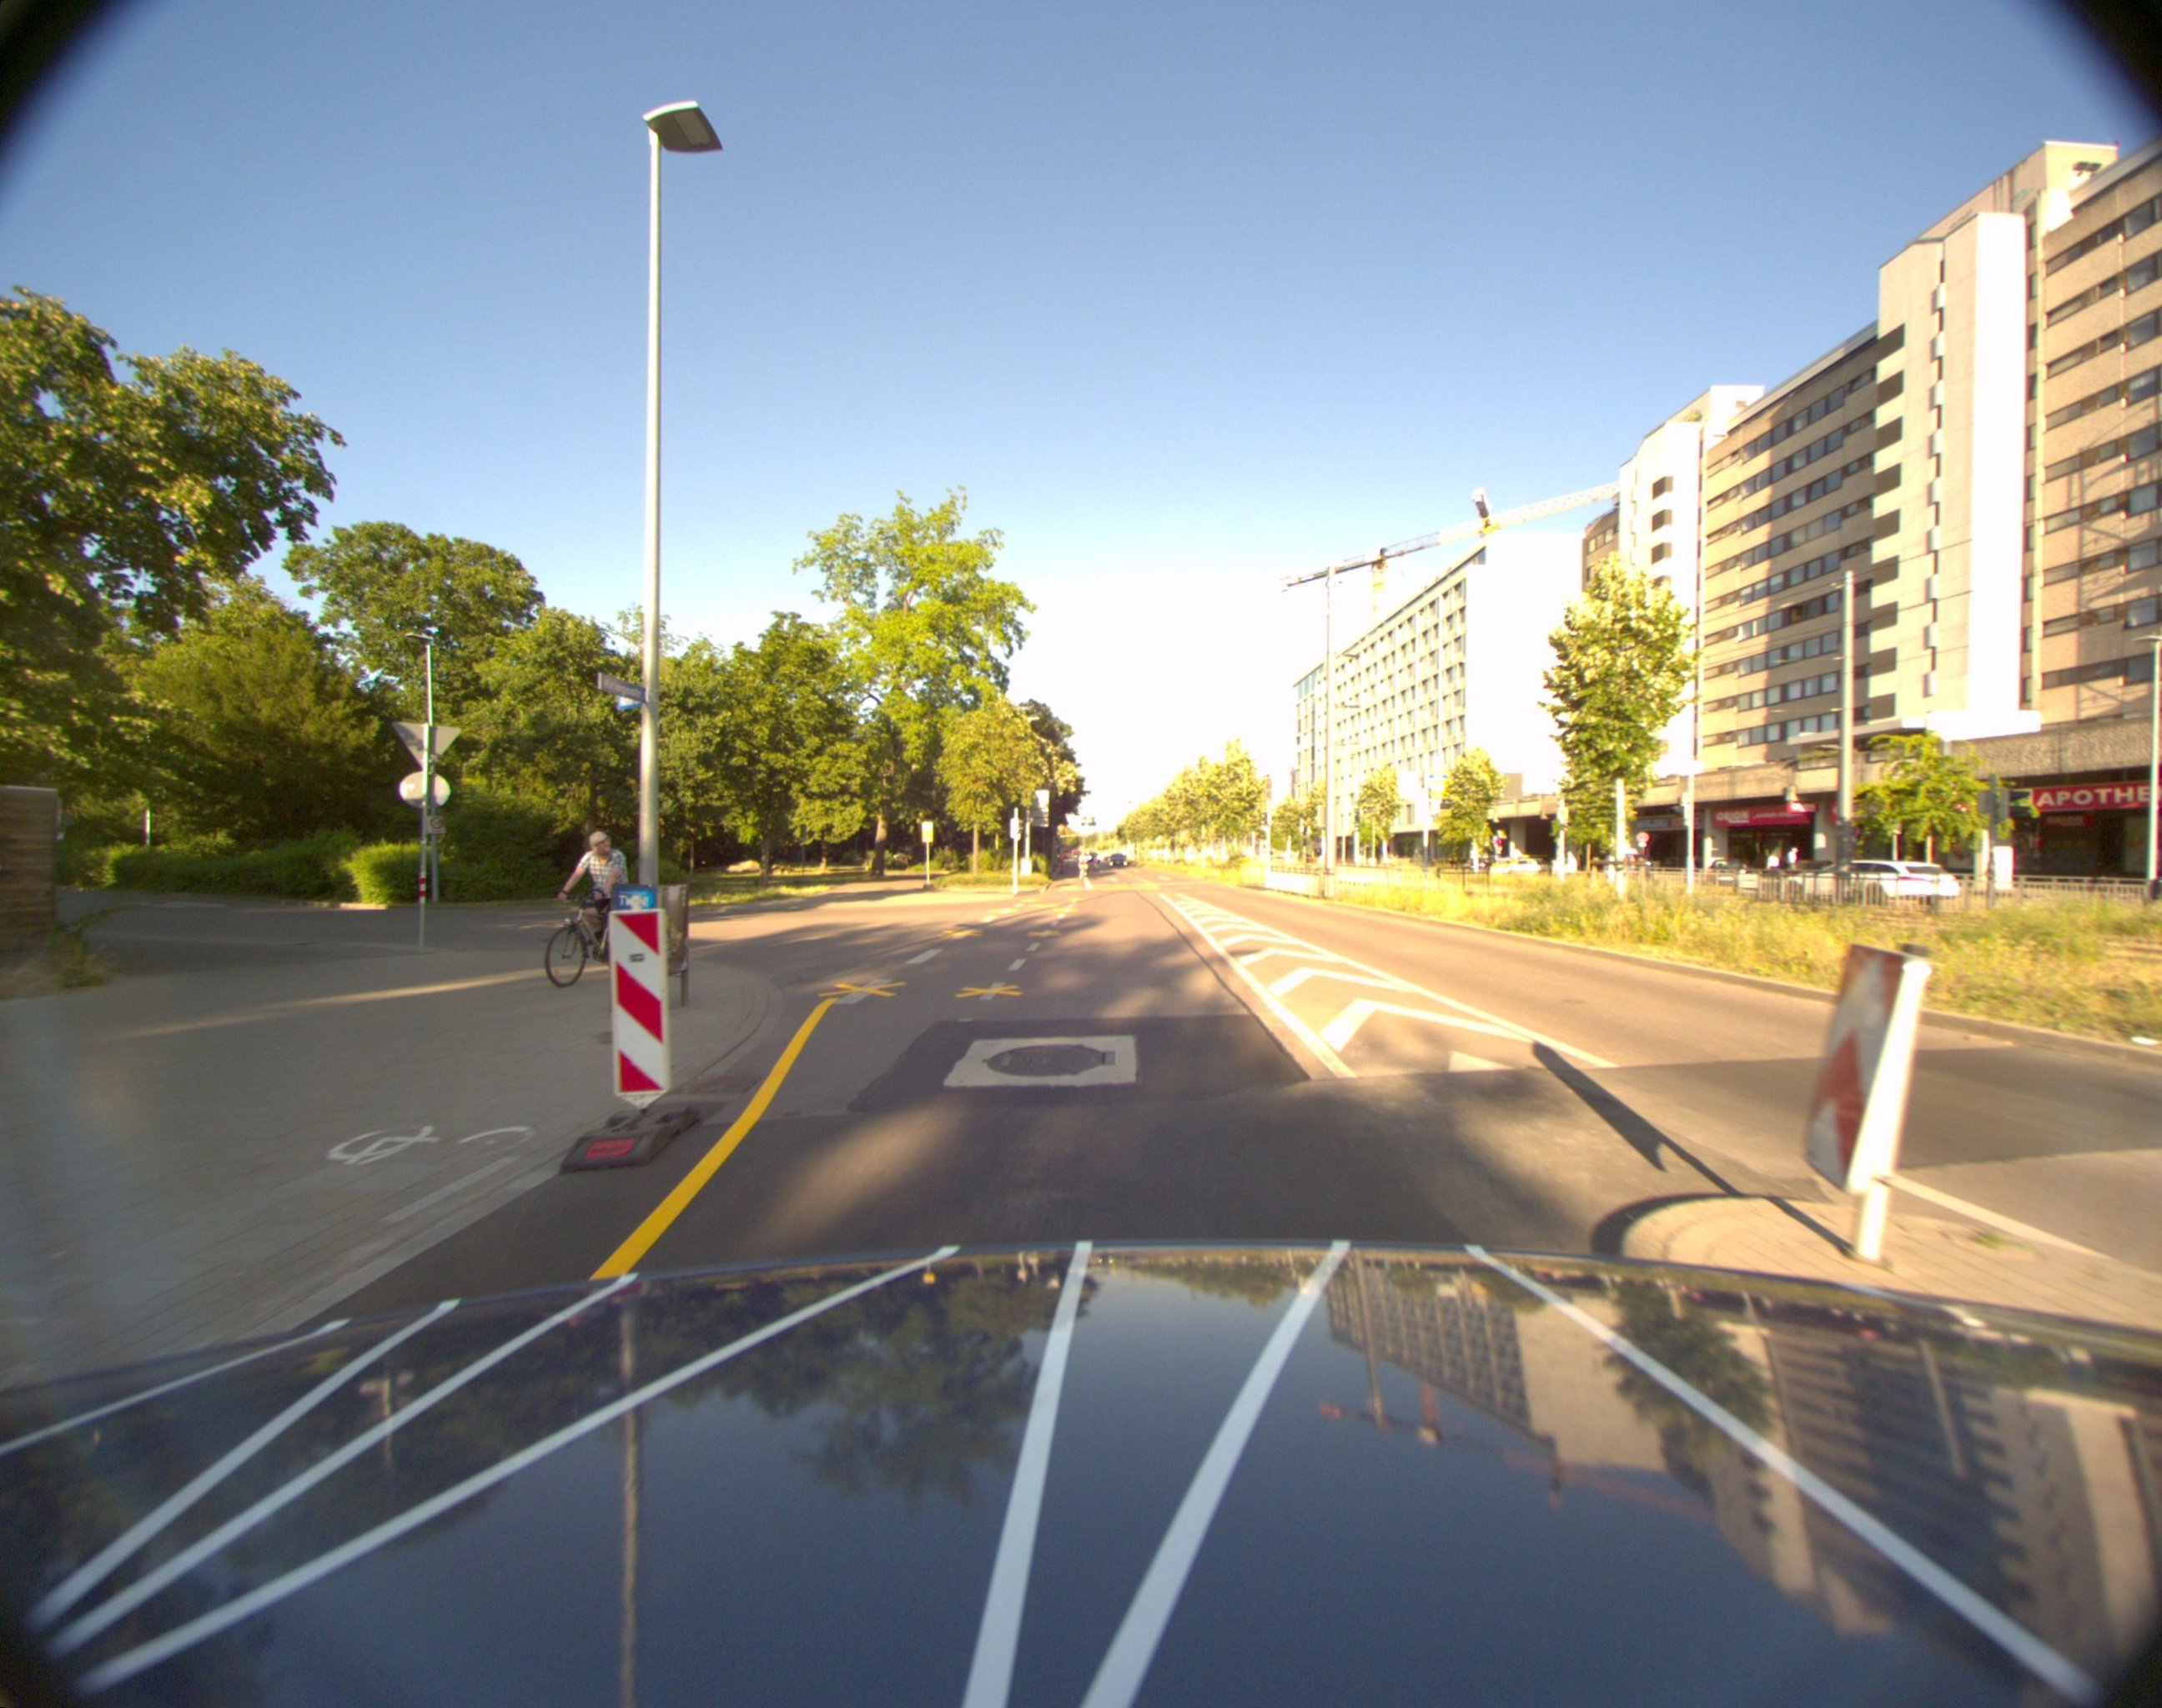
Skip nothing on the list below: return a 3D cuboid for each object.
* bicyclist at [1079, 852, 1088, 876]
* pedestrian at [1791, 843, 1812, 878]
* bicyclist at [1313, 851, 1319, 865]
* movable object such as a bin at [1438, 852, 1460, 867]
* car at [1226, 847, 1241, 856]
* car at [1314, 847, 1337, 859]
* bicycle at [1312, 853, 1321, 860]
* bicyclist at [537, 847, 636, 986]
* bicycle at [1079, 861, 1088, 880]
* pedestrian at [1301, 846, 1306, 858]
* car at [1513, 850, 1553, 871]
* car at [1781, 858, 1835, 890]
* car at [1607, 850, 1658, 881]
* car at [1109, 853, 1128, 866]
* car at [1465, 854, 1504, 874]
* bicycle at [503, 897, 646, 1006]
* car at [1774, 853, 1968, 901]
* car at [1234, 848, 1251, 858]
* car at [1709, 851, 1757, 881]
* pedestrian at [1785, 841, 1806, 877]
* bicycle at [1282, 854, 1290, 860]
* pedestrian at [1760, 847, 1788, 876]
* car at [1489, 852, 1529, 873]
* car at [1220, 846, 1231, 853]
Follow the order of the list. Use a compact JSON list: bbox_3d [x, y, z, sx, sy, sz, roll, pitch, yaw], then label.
[{"bbox_3d":[0.156,0.565,44.013,0.516,1.399,0.805,0,1,-1],"label":"bicyclist"},{"bbox_3d":[41.855,0.379,44.153,0.549,2.002,0.654,0,1,-1],"label":"pedestrian"},{"bbox_3d":[30.409,0.519,98.324,0.559,1.735,0.919,0,1,-2],"label":"bicyclist"},{"bbox_3d":[33.187,0.461,68.578,1.390,1.363,1.171,0,1,-2],"label":"movable object such as a bin"},{"bbox_3d":[29.046,-0.515,144.543,1.874,1.693,4.487,-2,1,0],"label":"car"},{"bbox_3d":[32.944,-0.105,102.493,1.874,1.458,3.389,-2,1,0],"label":"car"},{"bbox_3d":[30.466,0.334,98.451,0.437,0.858,2.102,0,1,-2],"label":"bicycle"},{"bbox_3d":[-5.984,0.721,9.241,0.585,1.605,0.903,0,1,-1],"label":"bicyclist"},{"bbox_3d":[0.165,0.941,43.972,0.506,1.018,1.505,0,1,0],"label":"bicycle"},{"bbox_3d":[34.995,-0.307,119.354,0.622,2.002,0.726,0,1,0],"label":"pedestrian"},{"bbox_3d":[33.894,0.460,56.975,3.800,1.436,1.616,-3,2,-44],"label":"car"},{"bbox_3d":[33.309,0.882,34.787,3.473,1.266,1.616,-3,2,-44],"label":"car"},{"bbox_3d":[34.149,0.660,46.983,4.204,1.681,1.617,-3,2,-41],"label":"car"},{"bbox_3d":[4.104,0.568,83.821,1.998,1.346,3.999,0,1,0],"label":"car"},{"bbox_3d":[33.789,0.795,63.526,1.616,1.436,4.556,-1,2,45],"label":"car"},{"bbox_3d":[-6.043,1.112,9.200,0.429,1.055,1.911,0,1,0],"label":"bicycle"},{"bbox_3d":[27.073,0.728,26.322,1.781,1.455,4.661,0,1,-1],"label":"car"},{"bbox_3d":[27.808,-0.250,130.975,1.874,1.579,4.638,-2,1,0],"label":"car"},{"bbox_3d":[34.672,0.597,40.404,3.473,1.394,1.616,-3,2,-44],"label":"car"},{"bbox_3d":[40.371,0.268,42.926,0.549,2.002,0.654,0,1,-1],"label":"pedestrian"},{"bbox_3d":[30.537,0.392,113.200,0.437,0.858,2.102,0,1,-2],"label":"bicycle"},{"bbox_3d":[39.205,0.420,42.984,0.776,1.630,0.882,0,1,-1],"label":"pedestrian"},{"bbox_3d":[33.778,0.670,59.962,1.785,1.436,3.809,-1,2,45],"label":"car"},{"bbox_3d":[32.464,-1.017,170.933,1.613,1.370,3.878,-2,1,0],"label":"car"}]
